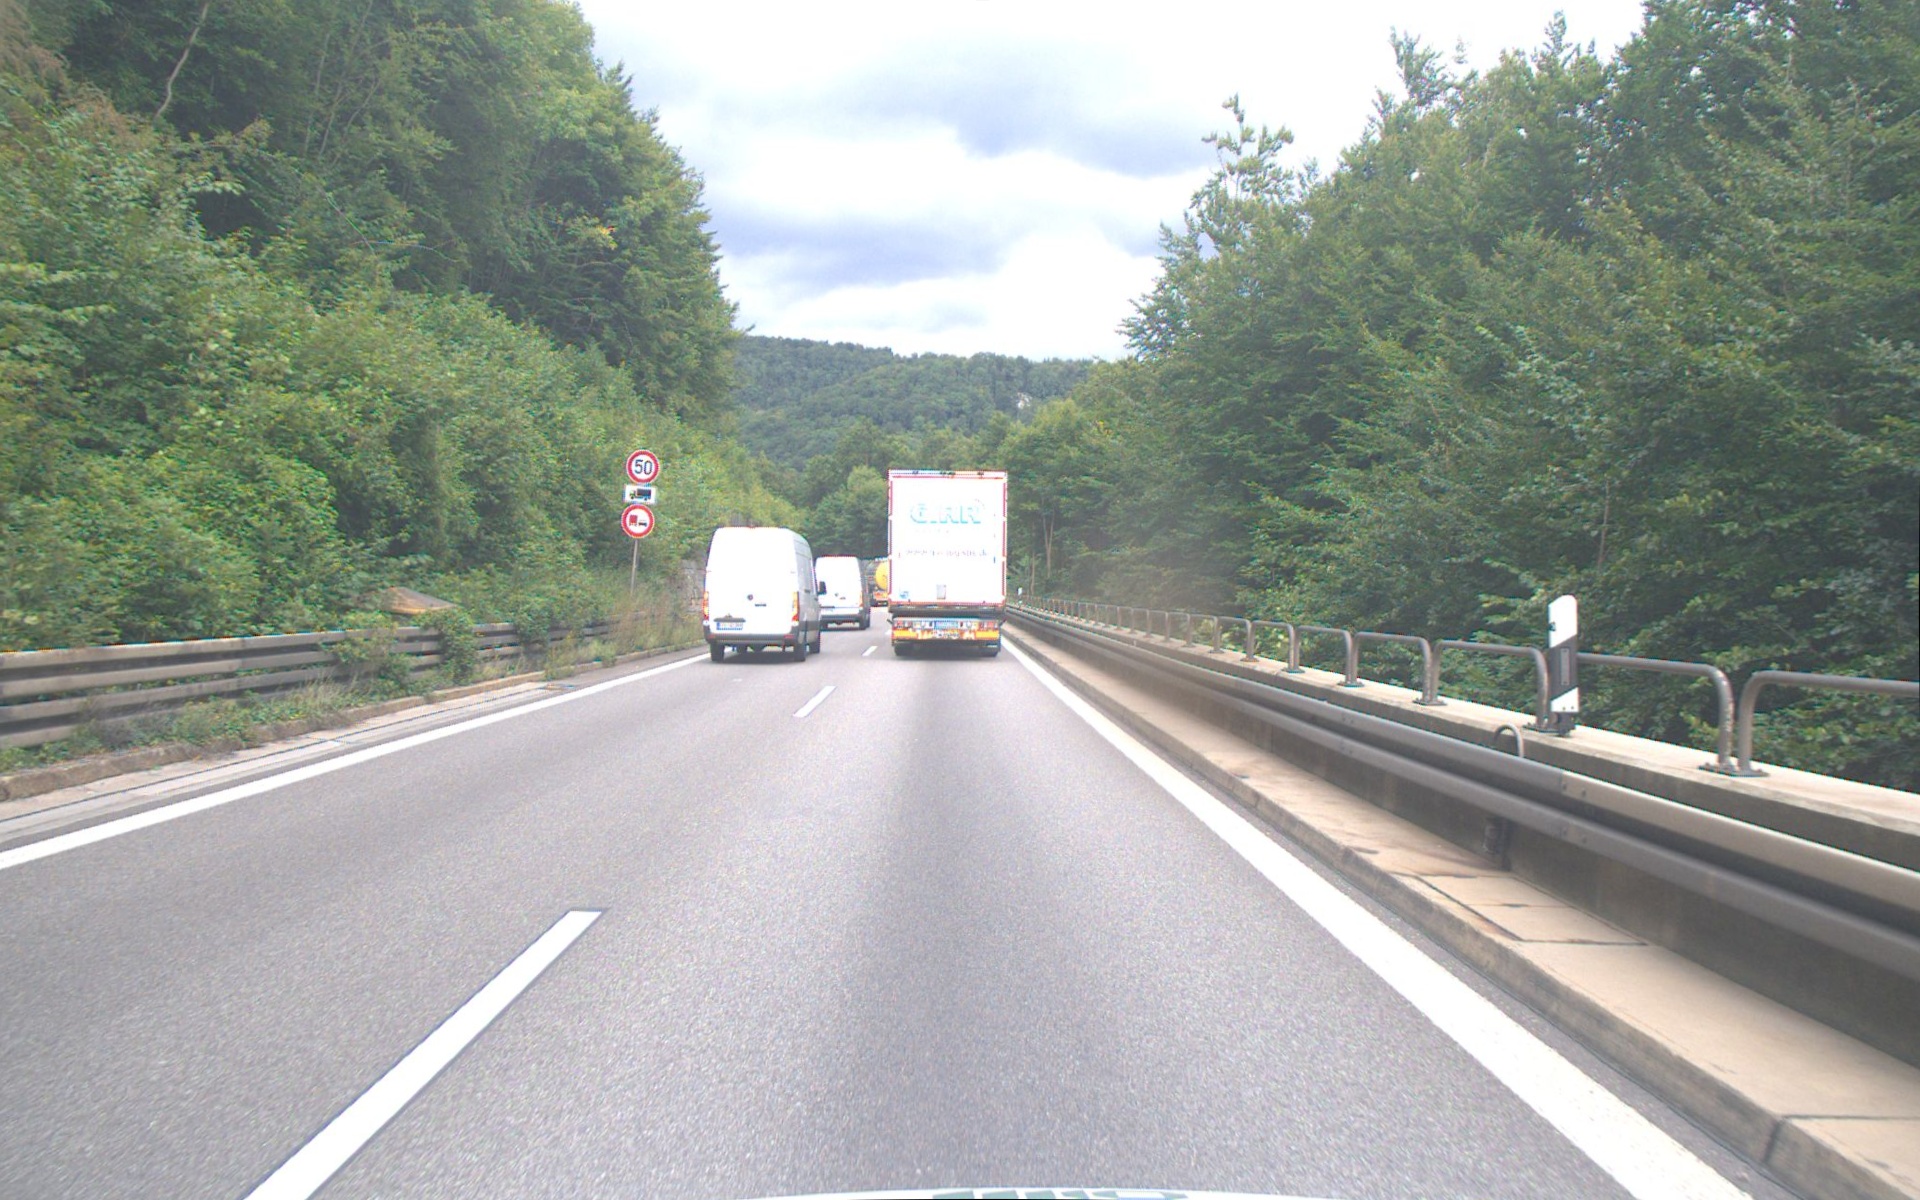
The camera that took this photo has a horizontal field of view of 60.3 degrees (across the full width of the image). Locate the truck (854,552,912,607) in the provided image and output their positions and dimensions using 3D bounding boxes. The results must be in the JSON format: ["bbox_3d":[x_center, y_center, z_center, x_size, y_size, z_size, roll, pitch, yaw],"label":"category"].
[{"bbox_3d":[-6.295,-1.566,132.676,3.001,4.056,13.668,1,0,-9],"label":"truck"}]

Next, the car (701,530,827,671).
[{"bbox_3d":[-4.093,-0.011,35.693,1.948,2.719,6.935,1,0,-1],"label":"car"}]

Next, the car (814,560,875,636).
[{"bbox_3d":[-4.330,-0.105,62.792,1.900,2.719,5.990,1,0,-1],"label":"car"}]

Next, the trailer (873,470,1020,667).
[{"bbox_3d":[-0.396,-0.832,40.670,2.995,4.055,12.135,1,2,-1],"label":"trailer"}]
